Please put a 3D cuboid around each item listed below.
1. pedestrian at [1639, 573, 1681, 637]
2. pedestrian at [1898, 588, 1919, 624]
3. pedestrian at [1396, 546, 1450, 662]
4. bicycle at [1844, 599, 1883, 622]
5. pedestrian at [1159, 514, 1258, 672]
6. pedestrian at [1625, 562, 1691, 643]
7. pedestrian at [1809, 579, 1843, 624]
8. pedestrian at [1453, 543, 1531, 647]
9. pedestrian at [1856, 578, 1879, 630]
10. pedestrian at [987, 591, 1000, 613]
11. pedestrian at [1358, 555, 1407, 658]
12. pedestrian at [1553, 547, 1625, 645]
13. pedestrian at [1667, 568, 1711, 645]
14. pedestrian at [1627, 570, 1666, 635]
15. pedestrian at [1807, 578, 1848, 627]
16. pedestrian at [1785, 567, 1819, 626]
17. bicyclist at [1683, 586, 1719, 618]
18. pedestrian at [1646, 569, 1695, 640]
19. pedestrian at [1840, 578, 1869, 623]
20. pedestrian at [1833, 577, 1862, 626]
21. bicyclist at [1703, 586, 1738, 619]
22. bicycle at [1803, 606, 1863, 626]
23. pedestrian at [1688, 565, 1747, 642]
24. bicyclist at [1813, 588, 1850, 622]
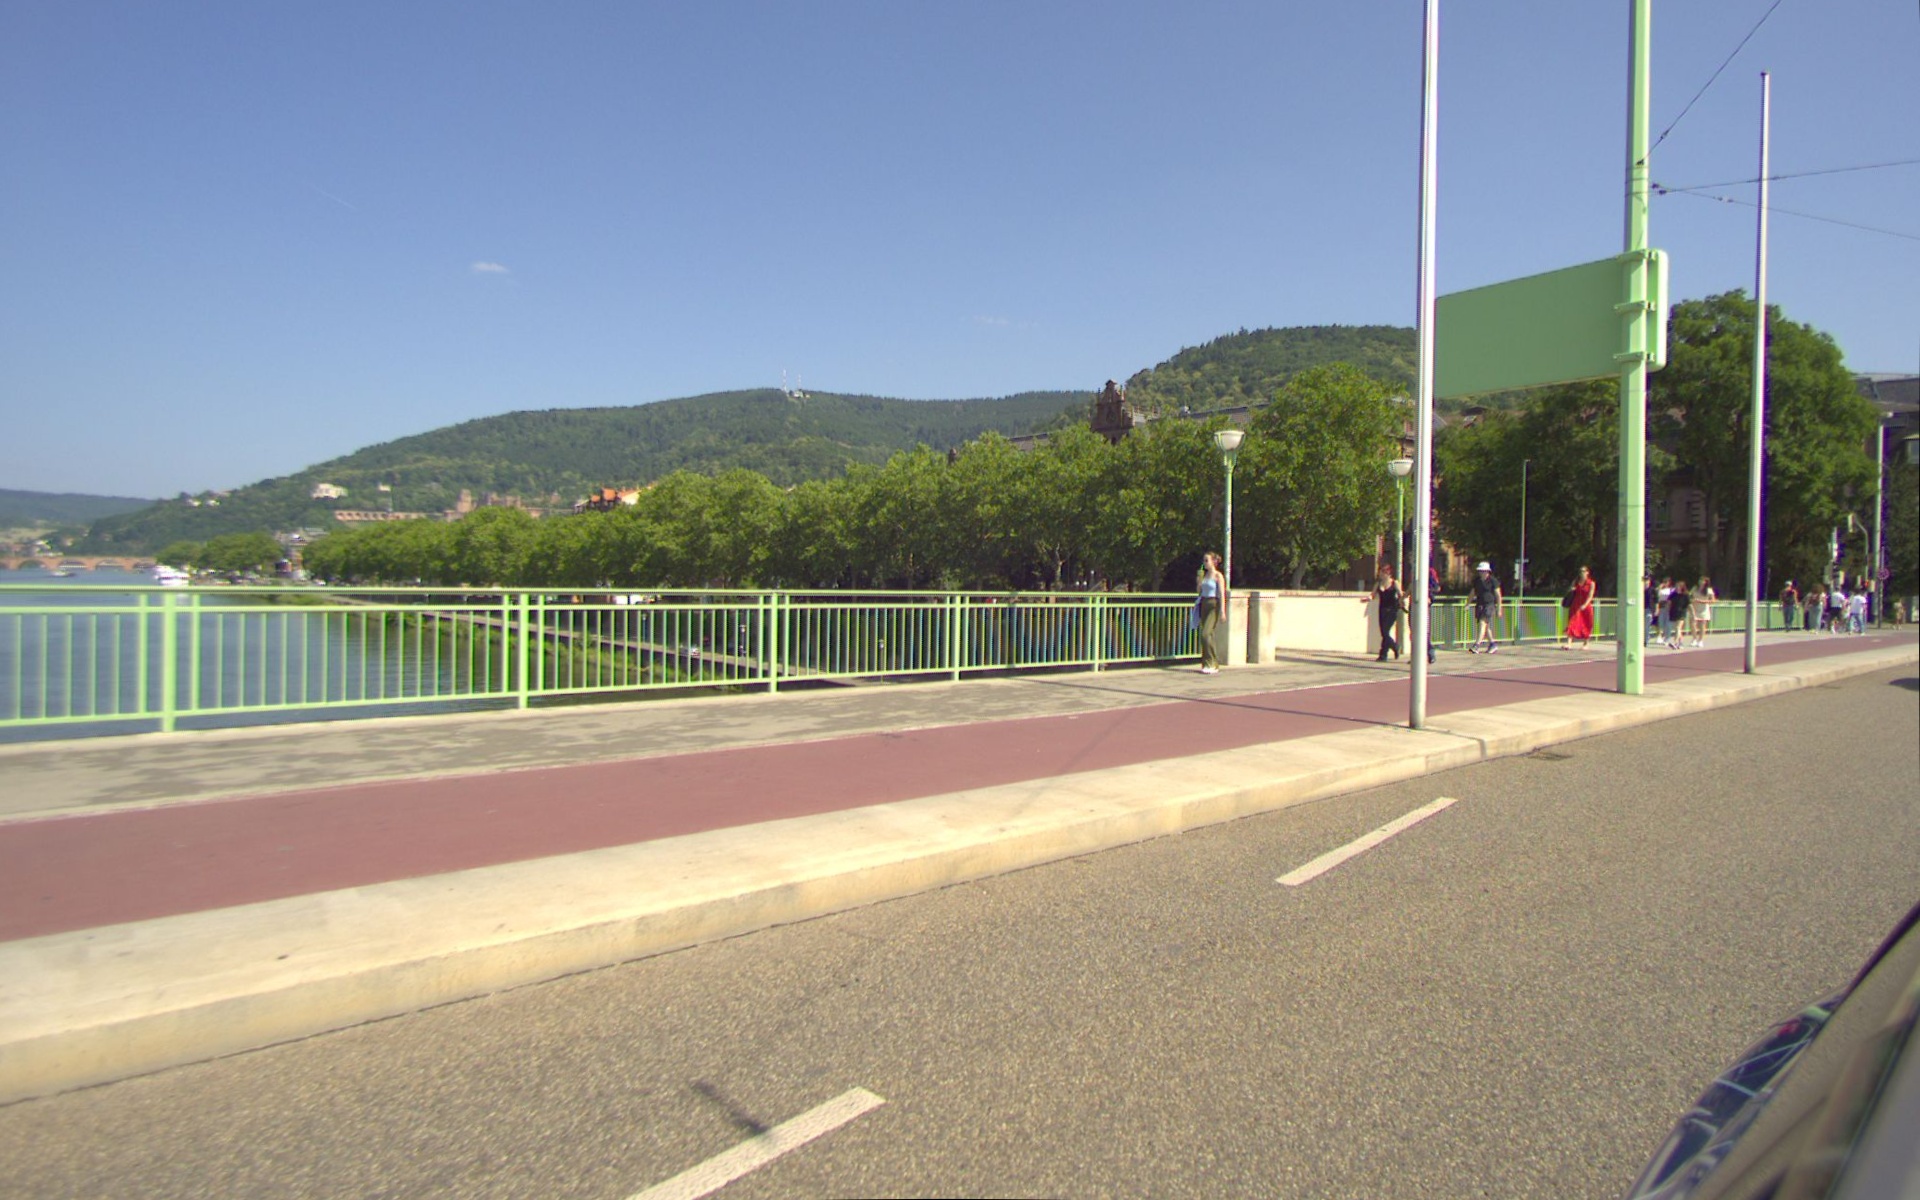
[{"bbox_3d":[17.678,0.124,25.570,0.679,1.582,0.651,1,2,-38],"label":"pedestrian"},{"bbox_3d":[55.627,0.349,59.330,1.042,2.038,0.775,0,2,-44],"label":"pedestrian"},{"bbox_3d":[7.465,0.050,16.308,0.622,1.815,0.586,-1,2,-44],"label":"pedestrian"},{"bbox_3d":[53.784,0.612,60.248,2.228,1.219,0.805,-3,5,-22],"label":"bicycle"},{"bbox_3d":[3.383,-0.109,13.773,1.042,2.038,0.874,-1,2,-45],"label":"pedestrian"},{"bbox_3d":[16.113,0.031,23.362,1.234,1.791,0.985,0,2,-45],"label":"pedestrian"},{"bbox_3d":[32.546,0.048,38.023,0.933,1.655,0.800,0,2,-41],"label":"pedestrian"},{"bbox_3d":[10.222,-0.109,19.435,1.234,1.918,0.985,-1,2,-45],"label":"pedestrian"},{"bbox_3d":[32.265,0.133,35.992,0.635,1.821,0.549,-1,2,-45],"label":"pedestrian"},{"bbox_3d":[2.732,0.182,82.454,0.666,1.798,0.740,1,0,-45],"label":"pedestrian"},{"bbox_3d":[7.042,0.089,16.859,0.523,1.670,0.688,2,2,45],"label":"pedestrian"},{"bbox_3d":[13.085,-0.097,21.052,0.923,1.978,1.017,-1,2,-41],"label":"pedestrian"},{"bbox_3d":[16.368,0.131,22.731,0.654,1.670,0.854,2,2,45],"label":"pedestrian"},{"bbox_3d":[17.797,0.055,26.243,0.679,1.652,0.651,0,0,-38],"label":"pedestrian"},{"bbox_3d":[30.058,0.067,35.073,0.906,1.635,0.985,-1,2,-45],"label":"pedestrian"},{"bbox_3d":[29.691,-0.139,35.690,0.939,2.038,0.803,-1,2,-45],"label":"pedestrian"},{"bbox_3d":[34.222,0.093,46.764,0.909,1.492,1.084,1,0,-31],"label":"bicyclist"},{"bbox_3d":[17.437,0.087,24.832,0.834,1.697,0.871,2,2,45],"label":"pedestrian"},{"bbox_3d":[37.171,0.015,42.072,0.632,1.879,0.776,1,0,-36],"label":"pedestrian"},{"bbox_3d":[31.589,0.044,36.028,0.720,1.738,0.696,-1,2,-45],"label":"pedestrian"},{"bbox_3d":[34.995,0.108,46.577,0.746,1.492,1.085,1,0,-17],"label":"bicyclist"},{"bbox_3d":[38.277,0.673,44.399,0.554,0.837,1.945,1,0,-34],"label":"bicycle"},{"bbox_3d":[18.139,0.065,24.228,0.915,1.772,0.985,-1,2,-45],"label":"pedestrian"},{"bbox_3d":[38.271,0.215,44.439,0.785,1.492,1.083,1,0,-35],"label":"bicyclist"}]
